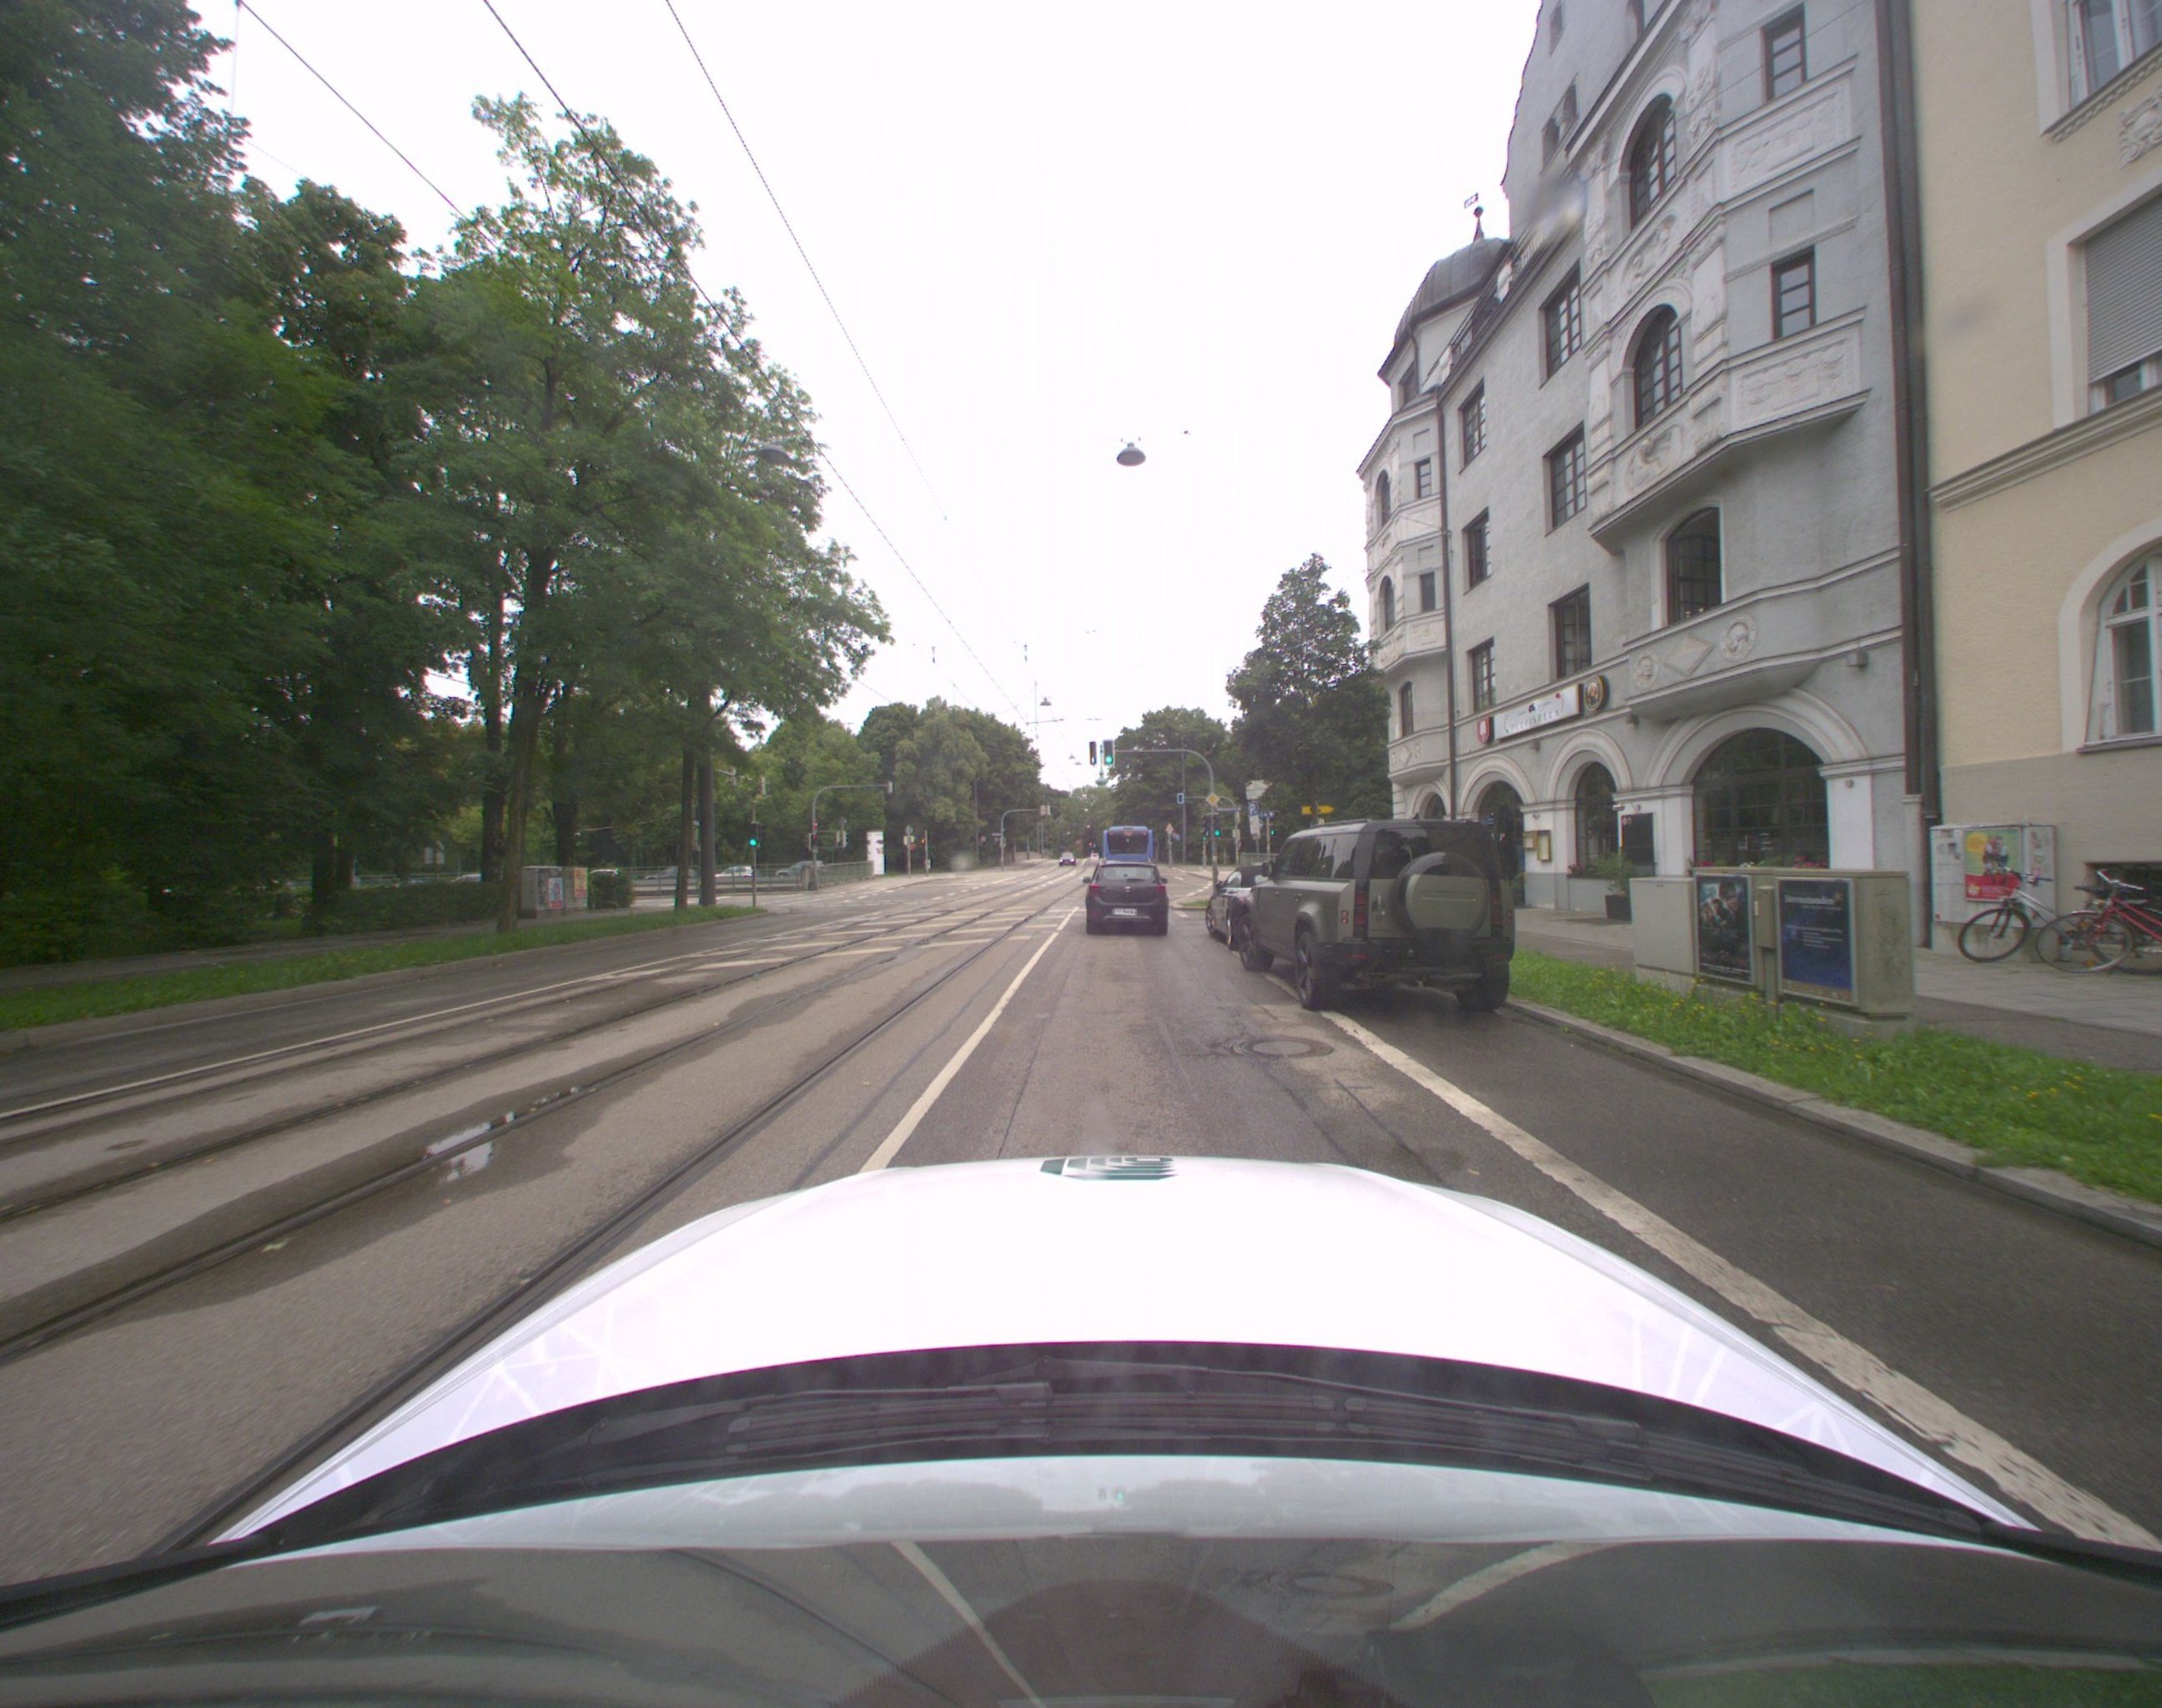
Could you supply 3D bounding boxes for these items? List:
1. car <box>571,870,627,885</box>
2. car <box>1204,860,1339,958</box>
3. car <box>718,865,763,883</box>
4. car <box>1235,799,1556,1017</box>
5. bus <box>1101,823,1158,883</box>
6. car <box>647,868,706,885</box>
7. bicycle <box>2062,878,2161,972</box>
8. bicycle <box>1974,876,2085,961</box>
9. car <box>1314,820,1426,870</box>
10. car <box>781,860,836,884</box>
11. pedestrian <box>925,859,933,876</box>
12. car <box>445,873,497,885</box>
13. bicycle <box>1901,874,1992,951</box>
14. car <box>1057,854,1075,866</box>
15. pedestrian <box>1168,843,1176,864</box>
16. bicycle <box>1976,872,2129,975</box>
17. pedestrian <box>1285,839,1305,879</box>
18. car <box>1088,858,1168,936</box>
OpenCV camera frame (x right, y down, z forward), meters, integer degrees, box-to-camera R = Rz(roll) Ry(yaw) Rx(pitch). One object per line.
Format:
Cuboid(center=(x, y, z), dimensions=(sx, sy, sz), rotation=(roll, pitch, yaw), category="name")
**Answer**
Cuboid(center=(-39.177, 1.881, 66.263), dimensions=(3.720, 1.185, 1.249), rotation=(0, -1, -4), category="car")
Cuboid(center=(3.423, 0.924, 15.409), dimensions=(1.708, 1.591, 4.329), rotation=(0, -1, 2), category="car")
Cuboid(center=(-27.867, 1.634, 66.684), dimensions=(3.103, 1.452, 1.249), rotation=(0, -1, -4), category="car")
Cuboid(center=(3.209, 0.507, 9.540), dimensions=(1.908, 1.906, 4.806), rotation=(0, -1, 0), category="car")
Cuboid(center=(2.500, 0.000, 44.026), dimensions=(2.670, 2.997, 6.959), rotation=(0, -1, 0), category="bus")
Cuboid(center=(-33.006, 1.828, 66.490), dimensions=(3.915, 1.404, 1.719), rotation=(0, -1, -3), category="car")
Cuboid(center=(11.014, 0.726, 8.583), dimensions=(0.304, 0.930, 0.886), rotation=(0, -1, 4), category="bicycle")
Cuboid(center=(11.080, 0.734, 9.543), dimensions=(0.289, 0.930, 0.886), rotation=(0, -1, 3), category="bicycle")
Cuboid(center=(15.637, -0.455, 44.264), dimensions=(5.280, 2.613, 2.229), rotation=(0, -1, -2), category="car")
Cuboid(center=(-22.453, 1.471, 67.211), dimensions=(4.015, 1.887, 1.488), rotation=(0, -1, -5), category="car")
Cuboid(center=(-13.438, 1.163, 71.870), dimensions=(0.529, 1.501, 0.589), rotation=(0, -1, 6), category="pedestrian")
Cuboid(center=(-48.984, 1.991, 65.443), dimensions=(3.103, 0.972, 1.249), rotation=(0, -1, -4), category="car")
Cuboid(center=(11.111, 0.733, 10.480), dimensions=(0.258, 0.930, 0.886), rotation=(0, -1, 3), category="bicycle")
Cuboid(center=(-1.628, 0.676, 89.673), dimensions=(1.781, 1.370, 3.400), rotation=(0, -1, 1), category="car")
Cuboid(center=(9.308, -0.034, 83.231), dimensions=(0.760, 2.116, 0.854), rotation=(0, -1, 2), category="pedestrian")
Cuboid(center=(10.637, 0.723, 8.964), dimensions=(0.241, 1.039, 1.224), rotation=(0, -1, 2), category="bicycle")
Cuboid(center=(10.954, 0.247, 41.756), dimensions=(0.827, 2.014, 0.780), rotation=(0, -1, 2), category="pedestrian")
Cuboid(center=(0.989, 0.884, 18.132), dimensions=(1.595, 1.556, 3.526), rotation=(0, -1, 1), category="car")
